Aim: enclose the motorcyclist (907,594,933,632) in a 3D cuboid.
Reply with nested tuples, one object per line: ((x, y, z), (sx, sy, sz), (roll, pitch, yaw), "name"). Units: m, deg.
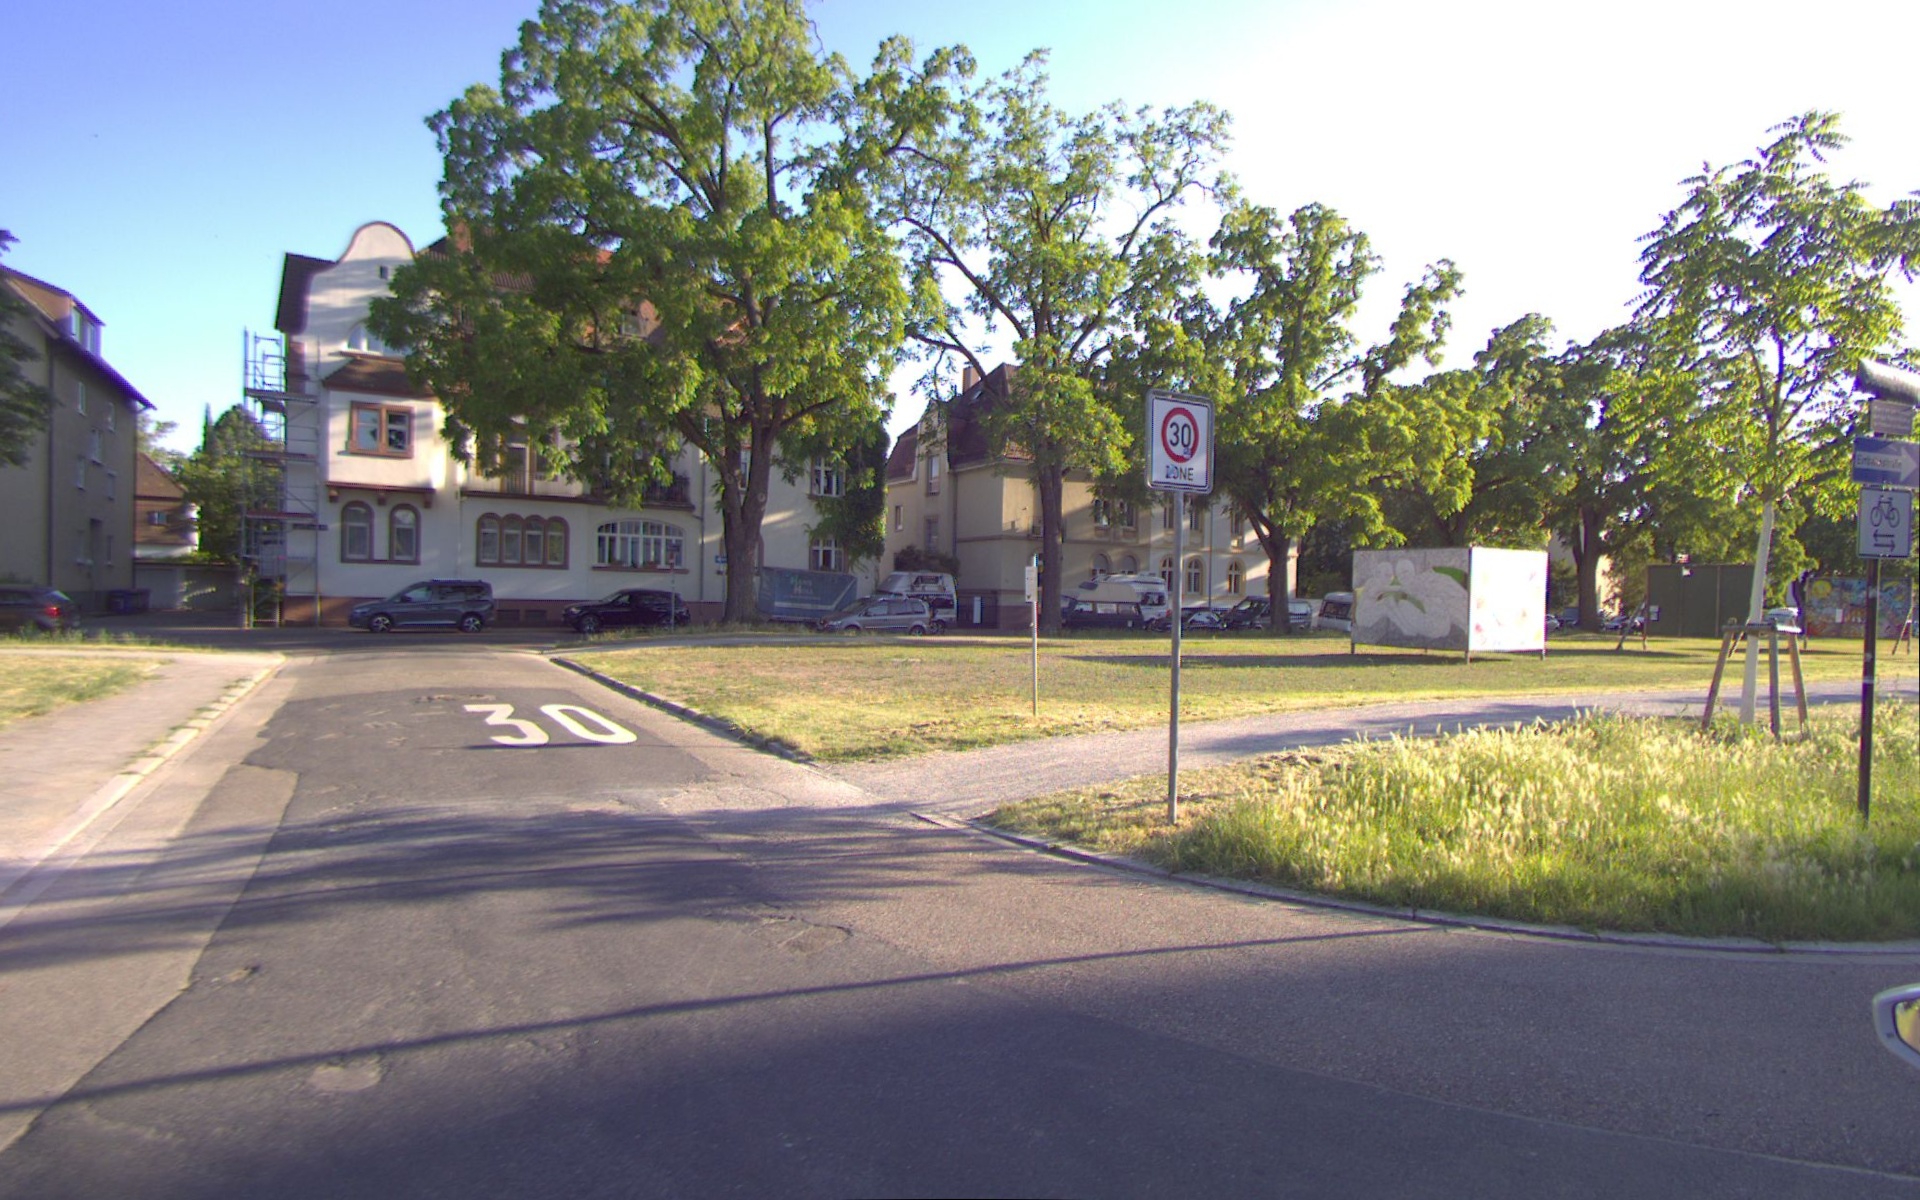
((-1.653, 0.560, 41.544), (0.774, 1.552, 0.929), (1, -1, -22), "motorcyclist")

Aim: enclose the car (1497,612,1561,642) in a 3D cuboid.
((39.582, 1.897, 69.848), (4.433, 2.040, 1.984), (1, -2, -31), "car")

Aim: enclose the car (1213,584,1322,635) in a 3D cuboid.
((14.602, 0.458, 47.651), (5.127, 2.280, 1.983), (1, 1, -31), "car")

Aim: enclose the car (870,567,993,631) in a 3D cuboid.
((-1.245, -0.008, 44.811), (5.126, 2.708, 1.984), (1, 1, -31), "car")

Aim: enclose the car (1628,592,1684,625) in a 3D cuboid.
((54.784, 0.699, 79.074), (4.312, 2.441, 1.984), (1, -2, -31), "car")

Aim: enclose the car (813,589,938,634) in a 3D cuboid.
((-3.086, 0.423, 36.810), (4.263, 1.580, 1.677), (1, 1, -30), "car")

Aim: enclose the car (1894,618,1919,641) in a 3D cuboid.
((92.109, 2.843, 95.428), (6.811, 2.176, 3.146), (1, -2, -30), "car")

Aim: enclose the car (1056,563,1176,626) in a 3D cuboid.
((7.833, -0.204, 50.380), (5.751, 2.960, 2.426), (1, -2, -31), "car")

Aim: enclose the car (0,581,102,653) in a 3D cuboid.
((-23.882, 0.389, 24.442), (4.204, 1.671, 1.984), (1, 1, -30), "car")

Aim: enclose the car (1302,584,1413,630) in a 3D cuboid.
((20.403, 0.350, 51.550), (5.395, 2.266, 2.522), (0, 0, -31), "car")

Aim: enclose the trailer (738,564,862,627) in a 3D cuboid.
((-6.612, -0.172, 41.549), (4.668, 2.460, 1.984), (1, 1, -30), "trailer")

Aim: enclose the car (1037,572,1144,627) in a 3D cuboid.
((5.474, 0.005, 42.010), (4.263, 2.205, 1.677), (1, 1, -30), "car")

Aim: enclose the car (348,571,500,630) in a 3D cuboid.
((-18.386, 0.025, 34.509), (4.448, 1.901, 1.981), (1, 1, -34), "car")

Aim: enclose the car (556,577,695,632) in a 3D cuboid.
((-12.702, 0.168, 38.191), (4.698, 1.979, 1.983), (1, 1, -32), "car")

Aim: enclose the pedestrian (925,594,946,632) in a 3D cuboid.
((-1.018, 0.564, 41.823), (0.591, 1.552, 0.927), (1, -1, -22), "pedestrian")

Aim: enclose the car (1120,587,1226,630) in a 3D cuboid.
((9.485, 0.393, 44.629), (4.431, 1.817, 1.984), (1, 1, -30), "car")

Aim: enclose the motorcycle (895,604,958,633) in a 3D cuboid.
((-1.388, 0.777, 41.658), (2.485, 1.141, 0.943), (1, -2, -23), "motorcycle")

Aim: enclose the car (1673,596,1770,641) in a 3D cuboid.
((54.846, 1.371, 72.311), (6.811, 3.032, 3.146), (1, -2, -30), "car")
